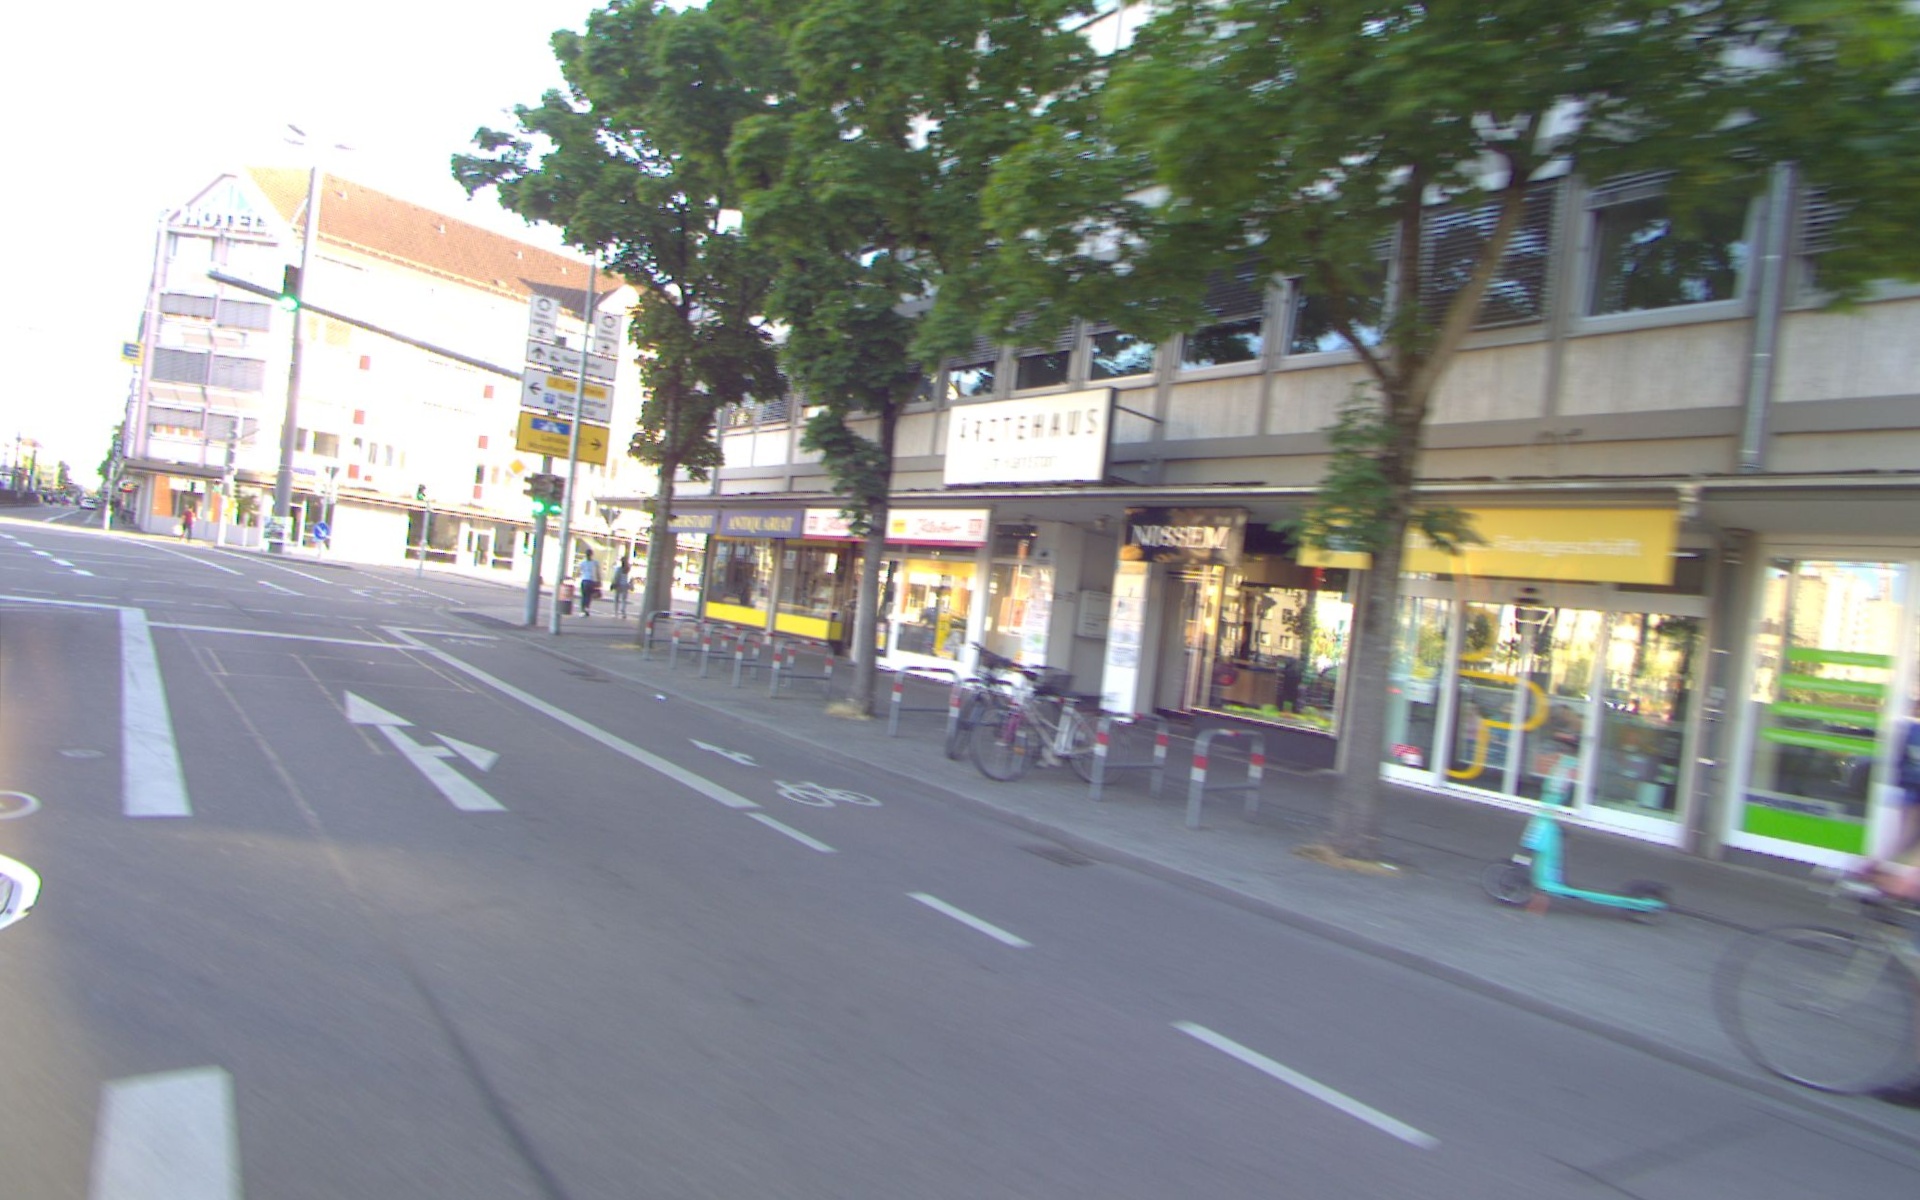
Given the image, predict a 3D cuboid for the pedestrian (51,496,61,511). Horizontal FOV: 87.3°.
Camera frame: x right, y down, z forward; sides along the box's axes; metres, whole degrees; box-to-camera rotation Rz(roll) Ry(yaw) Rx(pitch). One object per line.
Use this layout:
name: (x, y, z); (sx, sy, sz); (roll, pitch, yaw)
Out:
pedestrian: (-134.113, -14.357, 149.228); (0.911, 2.039, 0.876); (6, 1, -42)

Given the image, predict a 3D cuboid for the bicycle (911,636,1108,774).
bicycle: (0.533, 1.120, 10.564); (1.889, 1.251, 0.663); (7, 1, -30)

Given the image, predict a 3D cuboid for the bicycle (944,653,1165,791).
bicycle: (0.927, 1.188, 9.675); (1.980, 1.124, 0.663); (7, 0, -28)

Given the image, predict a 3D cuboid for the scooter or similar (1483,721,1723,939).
scooter or similar: (4.320, 1.538, 6.795); (1.254, 1.250, 0.338); (7, 1, 1)

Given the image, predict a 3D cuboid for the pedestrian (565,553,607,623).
pedestrian: (-9.513, -0.314, 25.610); (0.681, 1.687, 0.664); (6, 1, -38)

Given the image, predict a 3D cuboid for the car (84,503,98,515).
car: (-130.296, -13.620, 150.837); (1.467, 1.533, 3.059); (7, 0, -42)

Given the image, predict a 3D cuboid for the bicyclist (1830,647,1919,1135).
bicyclist: (3.949, 1.152, 4.001); (0.551, 1.853, 0.464); (8, 1, 41)

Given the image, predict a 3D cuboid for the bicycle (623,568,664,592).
bicycle: (-21.370, -1.342, 67.944); (0.812, 1.281, 2.399); (7, 0, 44)

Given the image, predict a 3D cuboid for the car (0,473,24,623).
car: (-10.030, -0.557, 8.991); (1.986, 1.603, 3.956); (10, -2, -39)

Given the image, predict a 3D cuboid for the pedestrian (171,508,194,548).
pedestrian: (-38.297, -3.531, 49.522); (0.682, 1.877, 0.662); (6, 1, -45)

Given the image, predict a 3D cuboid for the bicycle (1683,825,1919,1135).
bicycle: (3.993, 1.597, 3.929); (1.775, 0.982, 0.464); (7, 1, 41)

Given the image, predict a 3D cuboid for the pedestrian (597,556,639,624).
pedestrian: (-9.026, -0.258, 26.527); (0.719, 1.687, 0.664); (6, 1, -38)
